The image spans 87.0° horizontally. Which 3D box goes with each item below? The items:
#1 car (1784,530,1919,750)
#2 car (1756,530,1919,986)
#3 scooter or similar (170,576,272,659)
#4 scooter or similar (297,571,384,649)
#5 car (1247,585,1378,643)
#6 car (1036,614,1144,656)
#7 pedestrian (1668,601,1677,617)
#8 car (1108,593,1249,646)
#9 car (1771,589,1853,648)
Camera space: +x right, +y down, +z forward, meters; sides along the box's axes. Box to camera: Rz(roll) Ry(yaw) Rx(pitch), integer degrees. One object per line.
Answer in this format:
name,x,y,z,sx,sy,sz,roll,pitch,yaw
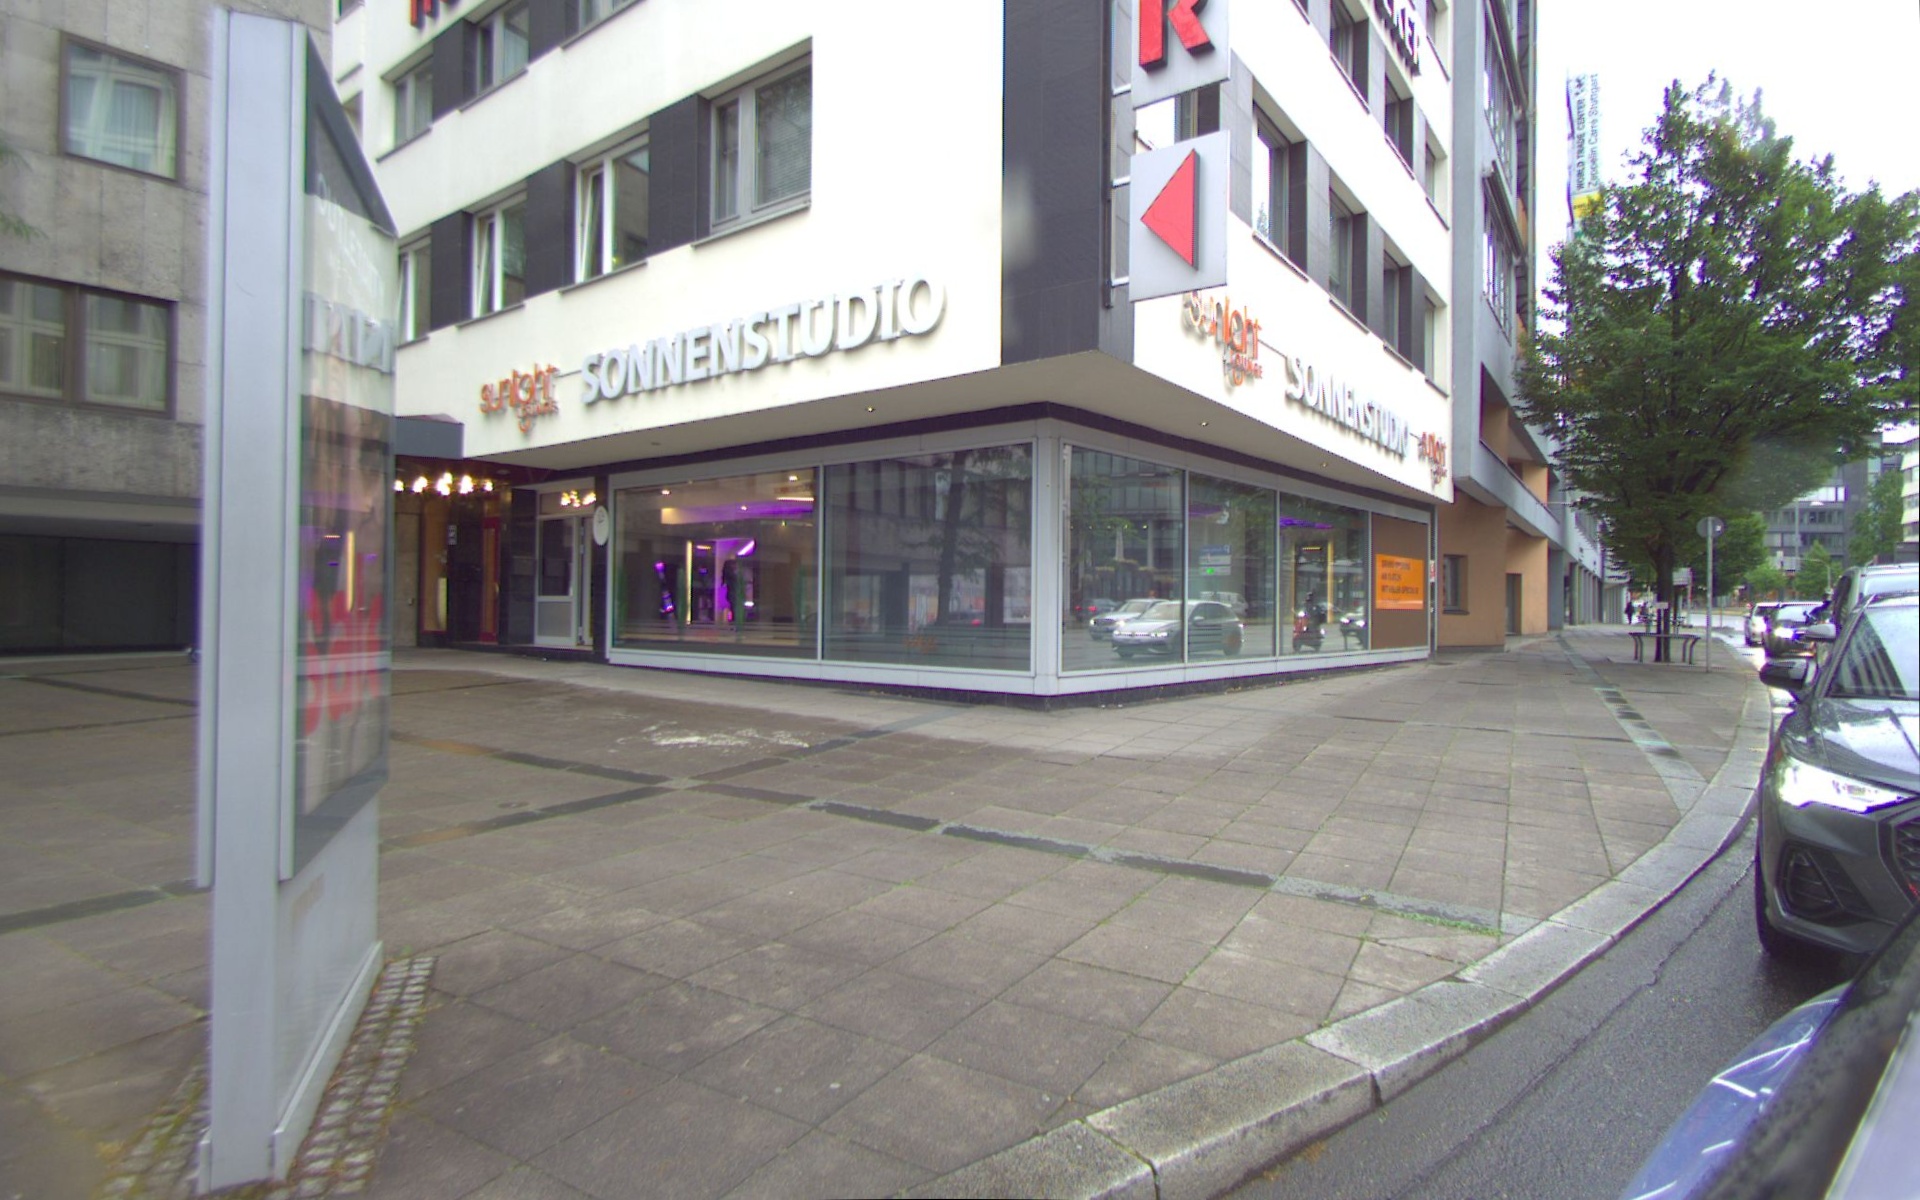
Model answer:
car,10.344,0.306,10.288,4.959,1.916,2.058,-1,0,-39
car,5.138,0.501,4.696,1.797,1.572,4.318,-2,0,44
scooter or similar,-11.785,0.251,16.156,0.562,1.269,1.215,1,1,37
scooter or similar,-11.110,0.177,18.170,0.516,1.354,1.215,-2,-1,37
car,11.144,0.400,31.826,1.993,1.629,4.849,-2,0,44
car,4.485,1.206,35.082,3.365,1.347,1.548,-2,0,34
pedestrian,73.041,0.959,103.752,0.648,1.618,1.047,-2,-1,30
car,5.669,0.475,25.986,1.716,1.209,3.937,-2,0,44
car,23.394,0.483,27.810,1.593,1.487,3.398,-2,0,40
